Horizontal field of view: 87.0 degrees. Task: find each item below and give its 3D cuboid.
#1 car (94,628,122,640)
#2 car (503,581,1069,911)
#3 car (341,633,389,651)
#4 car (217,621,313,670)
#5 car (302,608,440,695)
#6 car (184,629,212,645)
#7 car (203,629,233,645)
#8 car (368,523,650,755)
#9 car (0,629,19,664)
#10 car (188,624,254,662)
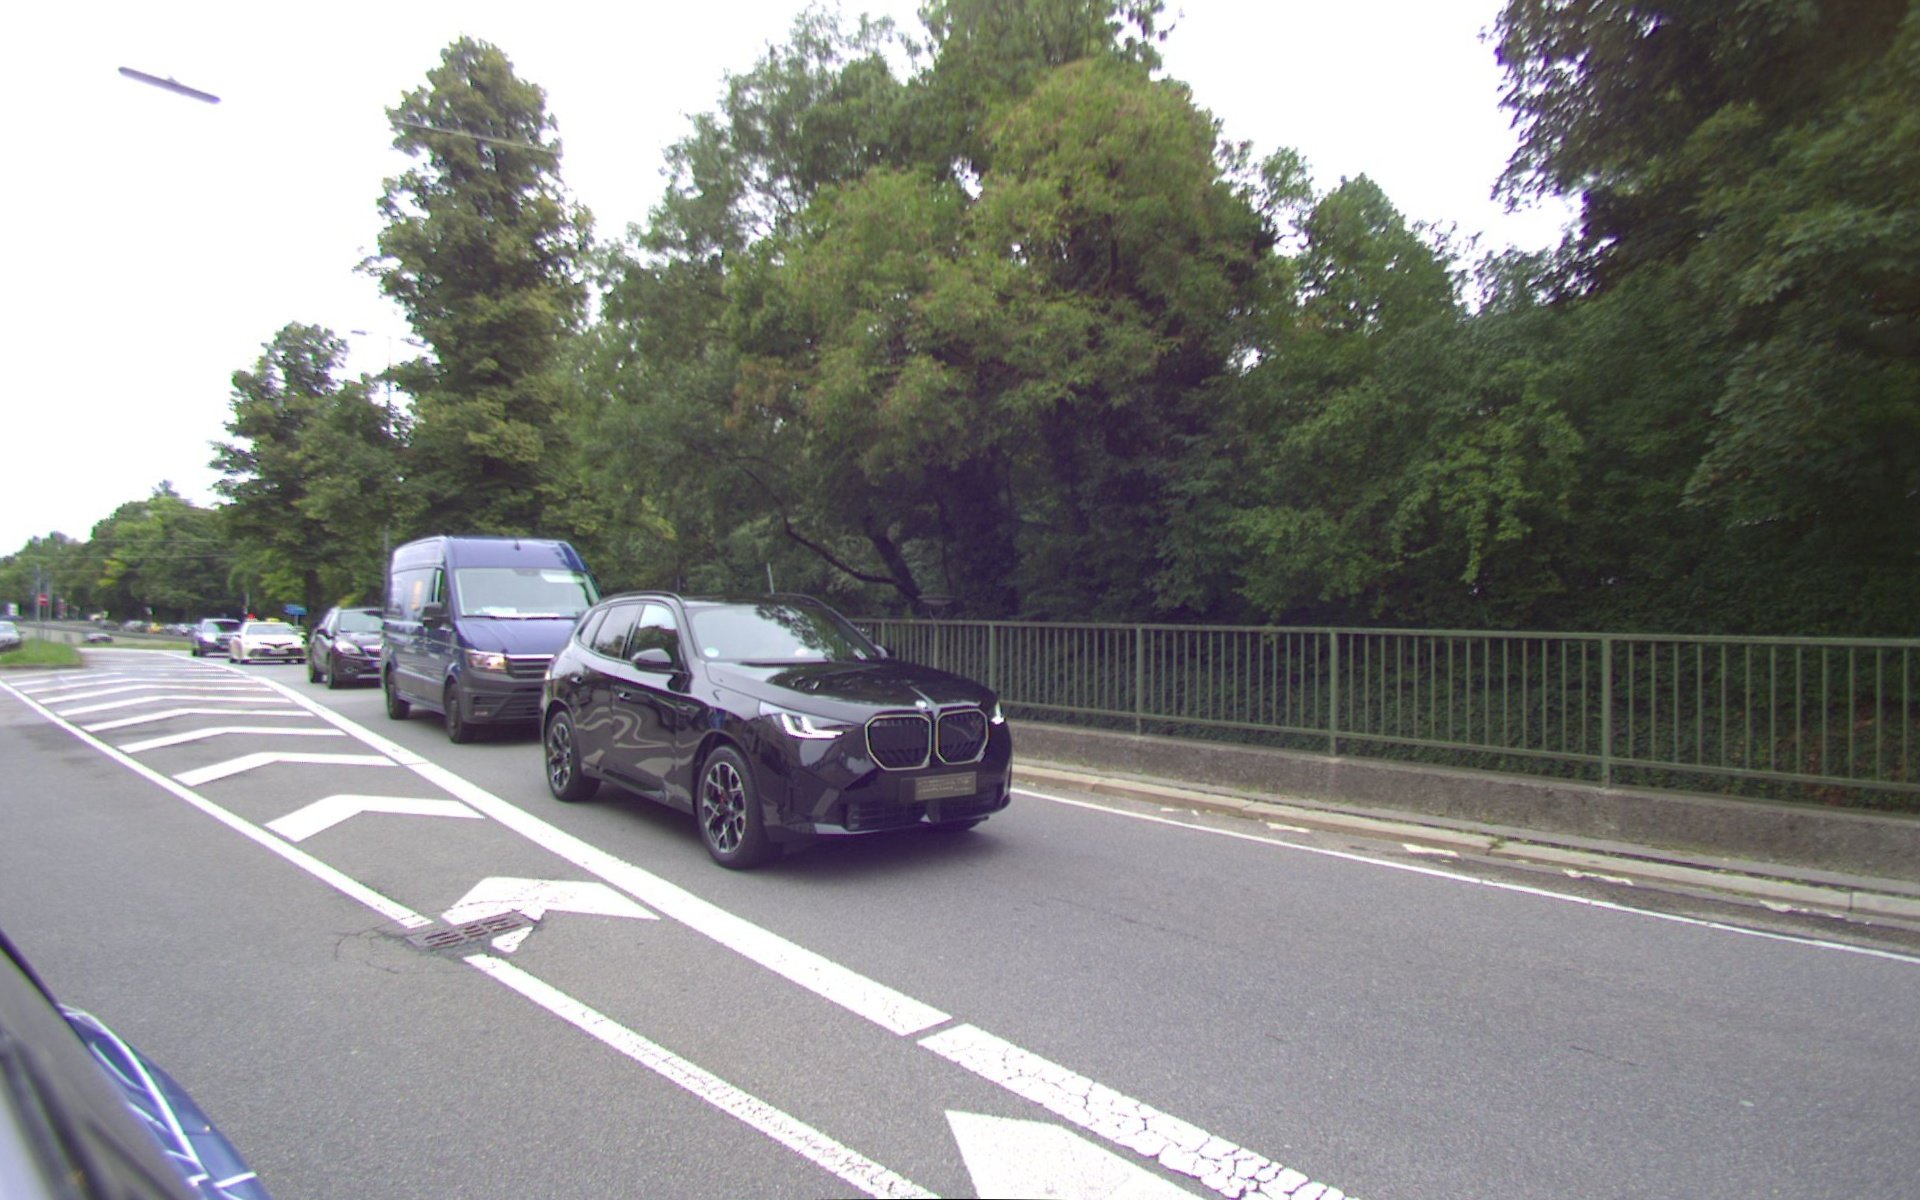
[{"bbox_3d":[-112.863,4.521,134.076,4.025,1.457,1.874,-2,-3,36],"label":"car"},{"bbox_3d":[-1.619,0.722,7.434,1.889,1.598,4.838,-2,1,-40],"label":"car"},{"bbox_3d":[-50.068,3.542,85.127,4.518,1.457,1.975,-1,-3,38],"label":"car"},{"bbox_3d":[-23.753,1.512,34.518,1.964,1.577,4.658,2,-2,-44],"label":"car"},{"bbox_3d":[-12.640,1.050,21.601,1.961,1.640,4.282,1,-2,-38],"label":"car"},{"bbox_3d":[-88.320,4.270,117.265,3.998,1.759,1.842,-1,-2,41],"label":"car"},{"bbox_3d":[-81.874,4.092,111.618,3.998,1.759,1.860,-1,-2,41],"label":"car"},{"bbox_3d":[-6.382,0.460,13.814,2.155,2.482,5.864,1,-1,-38],"label":"car"},{"bbox_3d":[-44.790,2.127,46.752,1.876,1.577,4.775,2,-2,-43],"label":"car"},{"bbox_3d":[-32.738,1.877,44.790,1.963,1.577,4.278,2,-2,-42],"label":"car"}]
